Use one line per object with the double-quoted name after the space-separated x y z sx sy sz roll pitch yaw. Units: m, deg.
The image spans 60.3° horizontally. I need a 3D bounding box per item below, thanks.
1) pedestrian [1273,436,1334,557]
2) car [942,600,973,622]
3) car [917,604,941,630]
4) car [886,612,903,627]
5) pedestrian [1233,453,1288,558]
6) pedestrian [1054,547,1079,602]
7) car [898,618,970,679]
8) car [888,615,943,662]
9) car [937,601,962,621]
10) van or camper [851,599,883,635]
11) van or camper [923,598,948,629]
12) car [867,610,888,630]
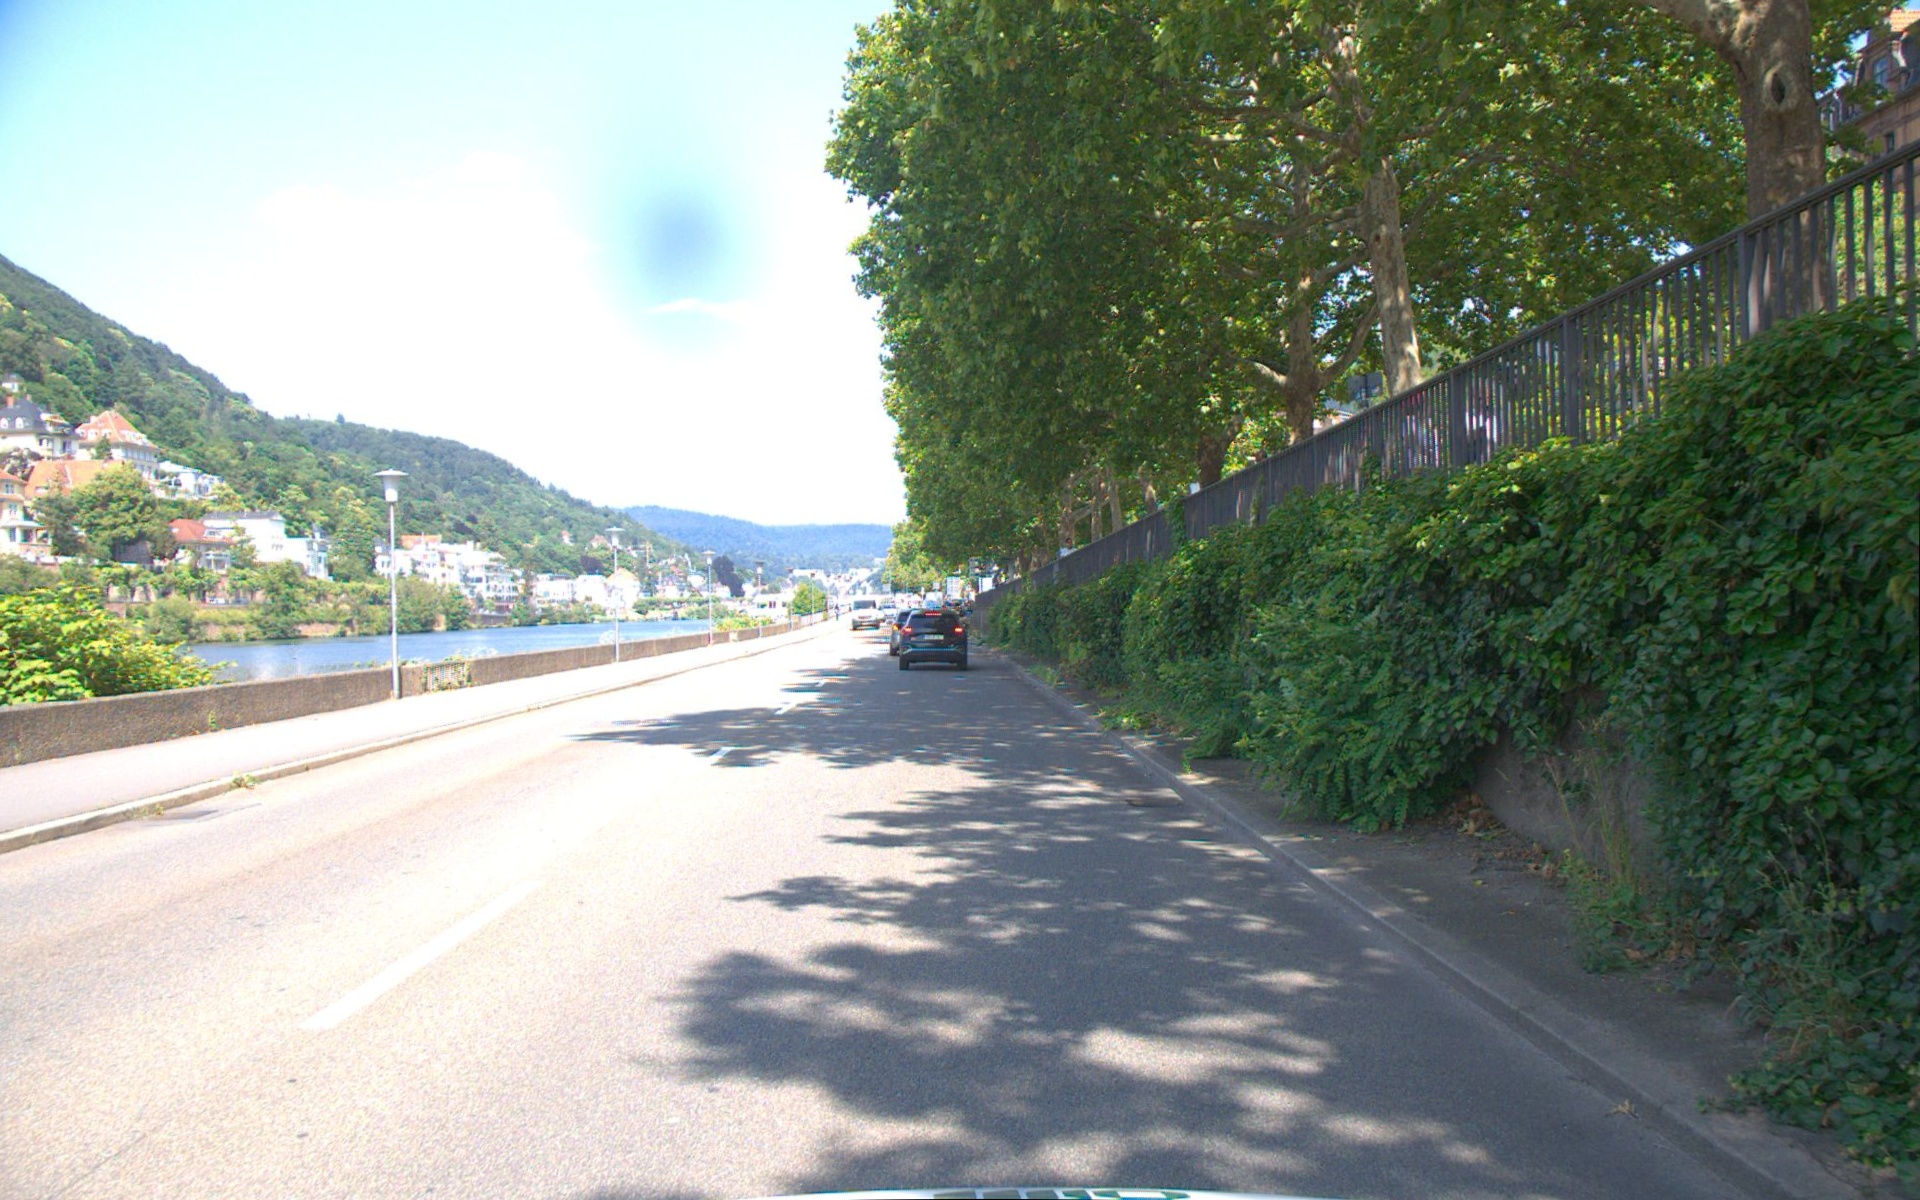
4.879 -1.462 23.488 0.635 1.669 0.625 -1 -1 -9 "pedestrian"
-0.291 1.157 172.702 3.036 2.048 5.822 -4 0 -2 "car"
-2.773 1.540 146.924 1.953 2.207 3.998 -2 0 -2 "car"
-6.607 1.941 166.998 1.697 1.467 4.043 -2 0 -2 "car"
4.252 -1.326 23.393 0.573 1.444 0.588 -1 -1 -9 "pedestrian"
3.219 -0.758 49.959 0.651 1.619 0.650 -1 -1 -2 "pedestrian"
-0.723 1.225 43.309 1.791 1.512 3.998 0 0 -2 "car"
-1.520 1.276 56.088 1.791 1.537 3.998 0 0 -2 "car"
-1.198 1.196 184.319 2.608 2.048 5.822 -4 0 -2 "car"
-6.745 1.236 120.028 2.035 2.440 5.383 -2 0 -2 "van or camper"
-2.373 1.280 160.022 2.263 2.897 4.245 -2 -1 0 "van or camper"
-7.300 1.745 146.499 1.697 1.679 4.175 -2 0 -2 "car"
